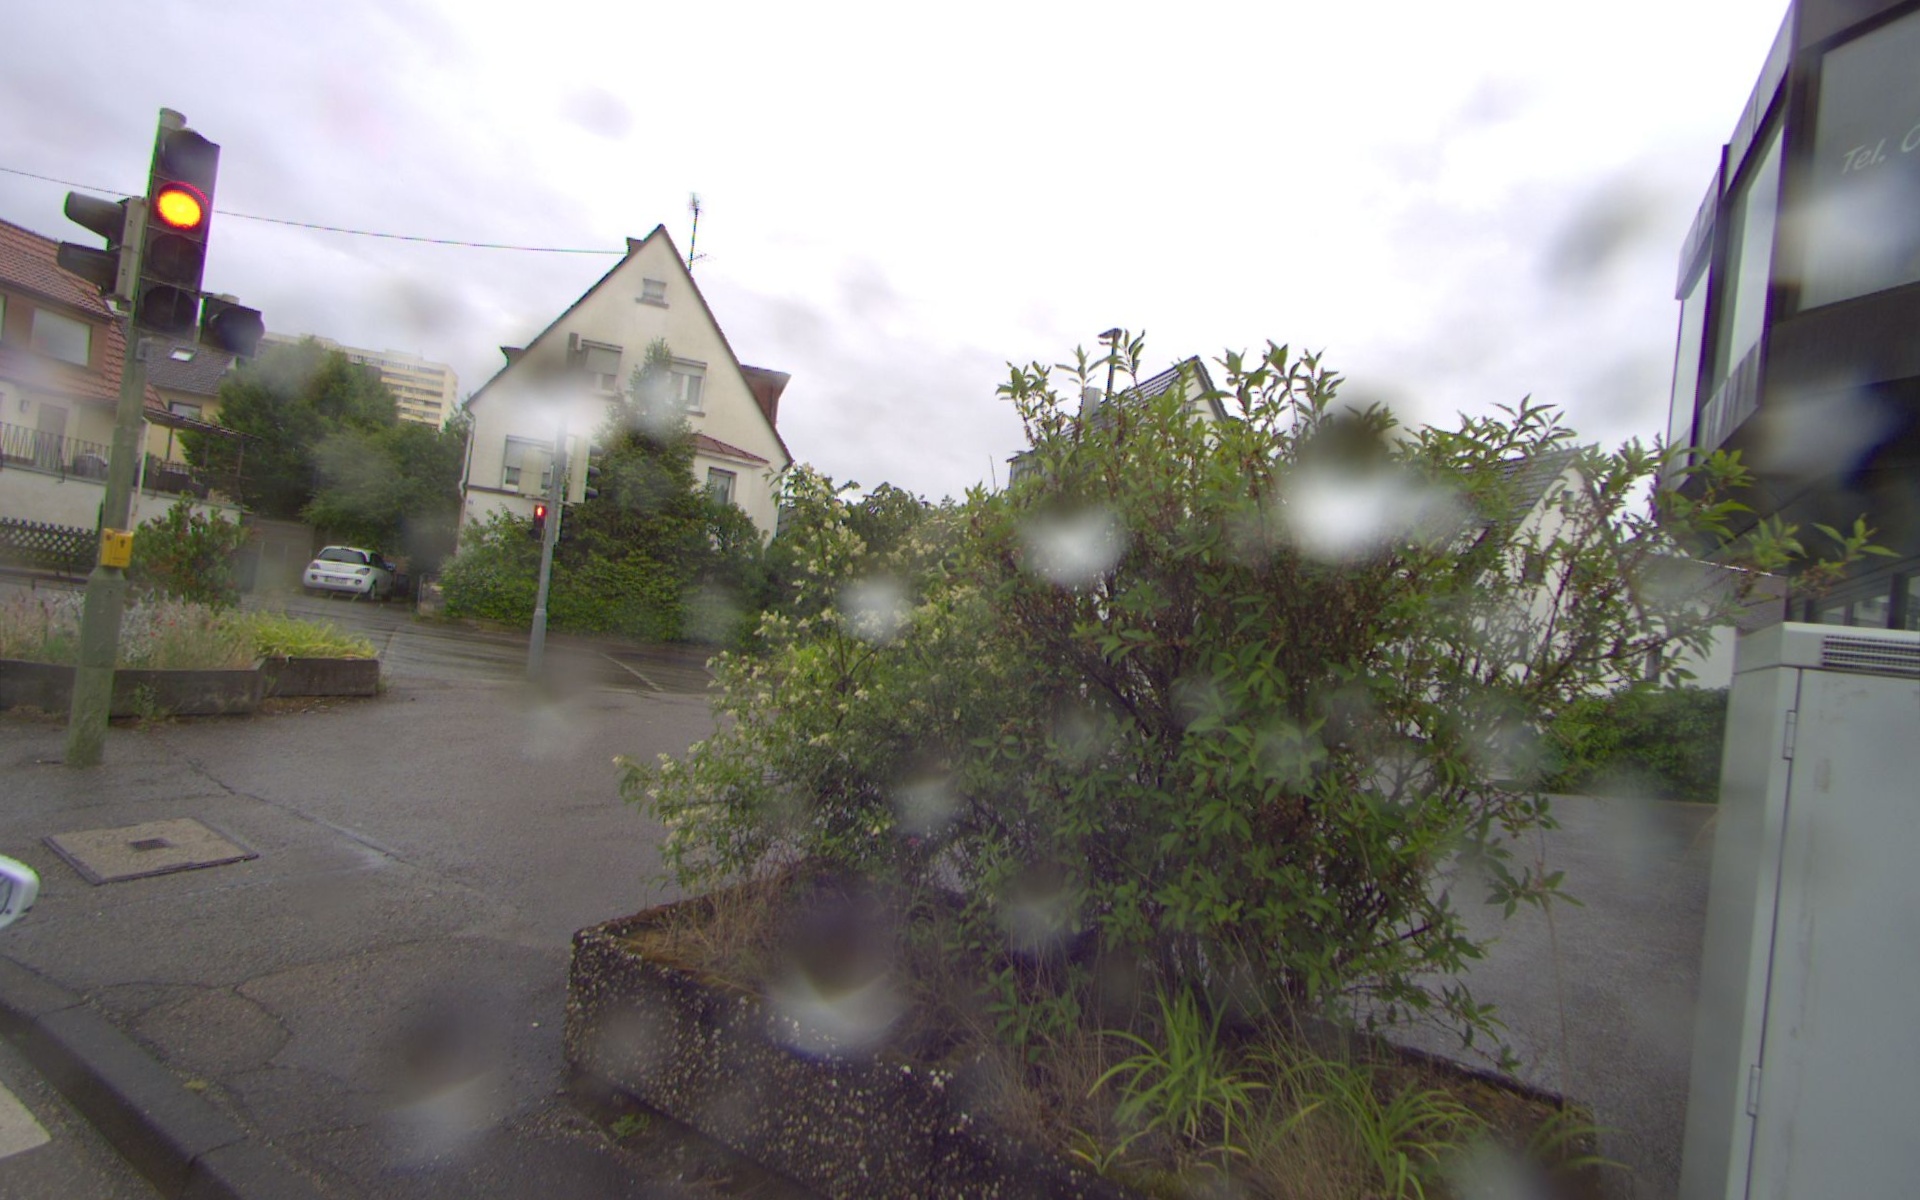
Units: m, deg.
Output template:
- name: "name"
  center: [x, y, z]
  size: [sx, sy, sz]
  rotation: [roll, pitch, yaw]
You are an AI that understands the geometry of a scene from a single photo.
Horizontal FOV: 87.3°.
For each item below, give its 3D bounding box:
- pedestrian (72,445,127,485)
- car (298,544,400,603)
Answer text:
- name: "pedestrian"
  center: [-24.268, -3.799, 28.373]
  size: [0.623, 0.893, 0.920]
  rotation: [5, -2, 13]
- name: "car"
  center: [-17.752, -0.743, 29.424]
  size: [1.794, 1.378, 3.981]
  rotation: [8, -2, -22]
